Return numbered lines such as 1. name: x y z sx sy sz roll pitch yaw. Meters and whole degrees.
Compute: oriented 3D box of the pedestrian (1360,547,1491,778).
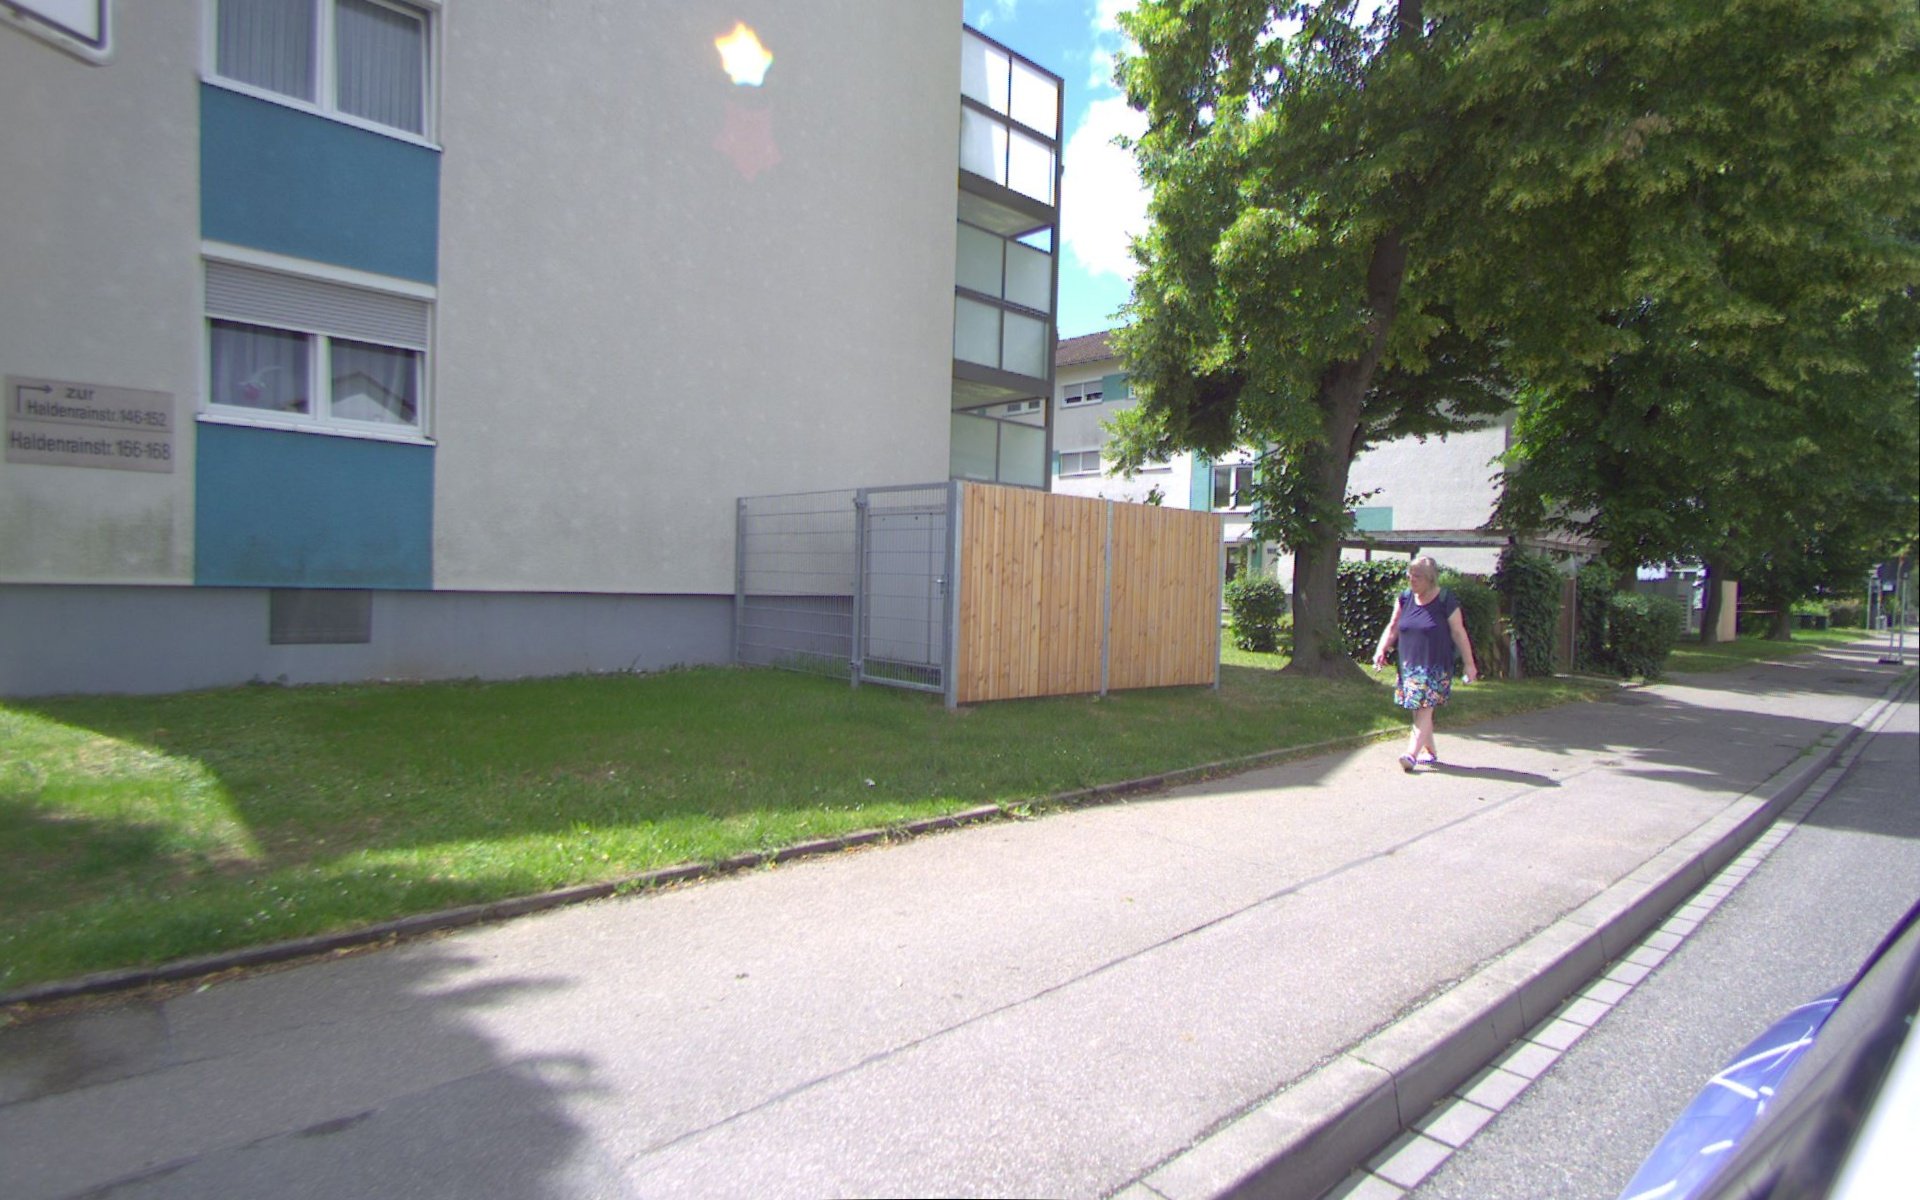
1. pedestrian: 3.647 0.457 7.915 0.681 1.681 0.819 2 -1 41
